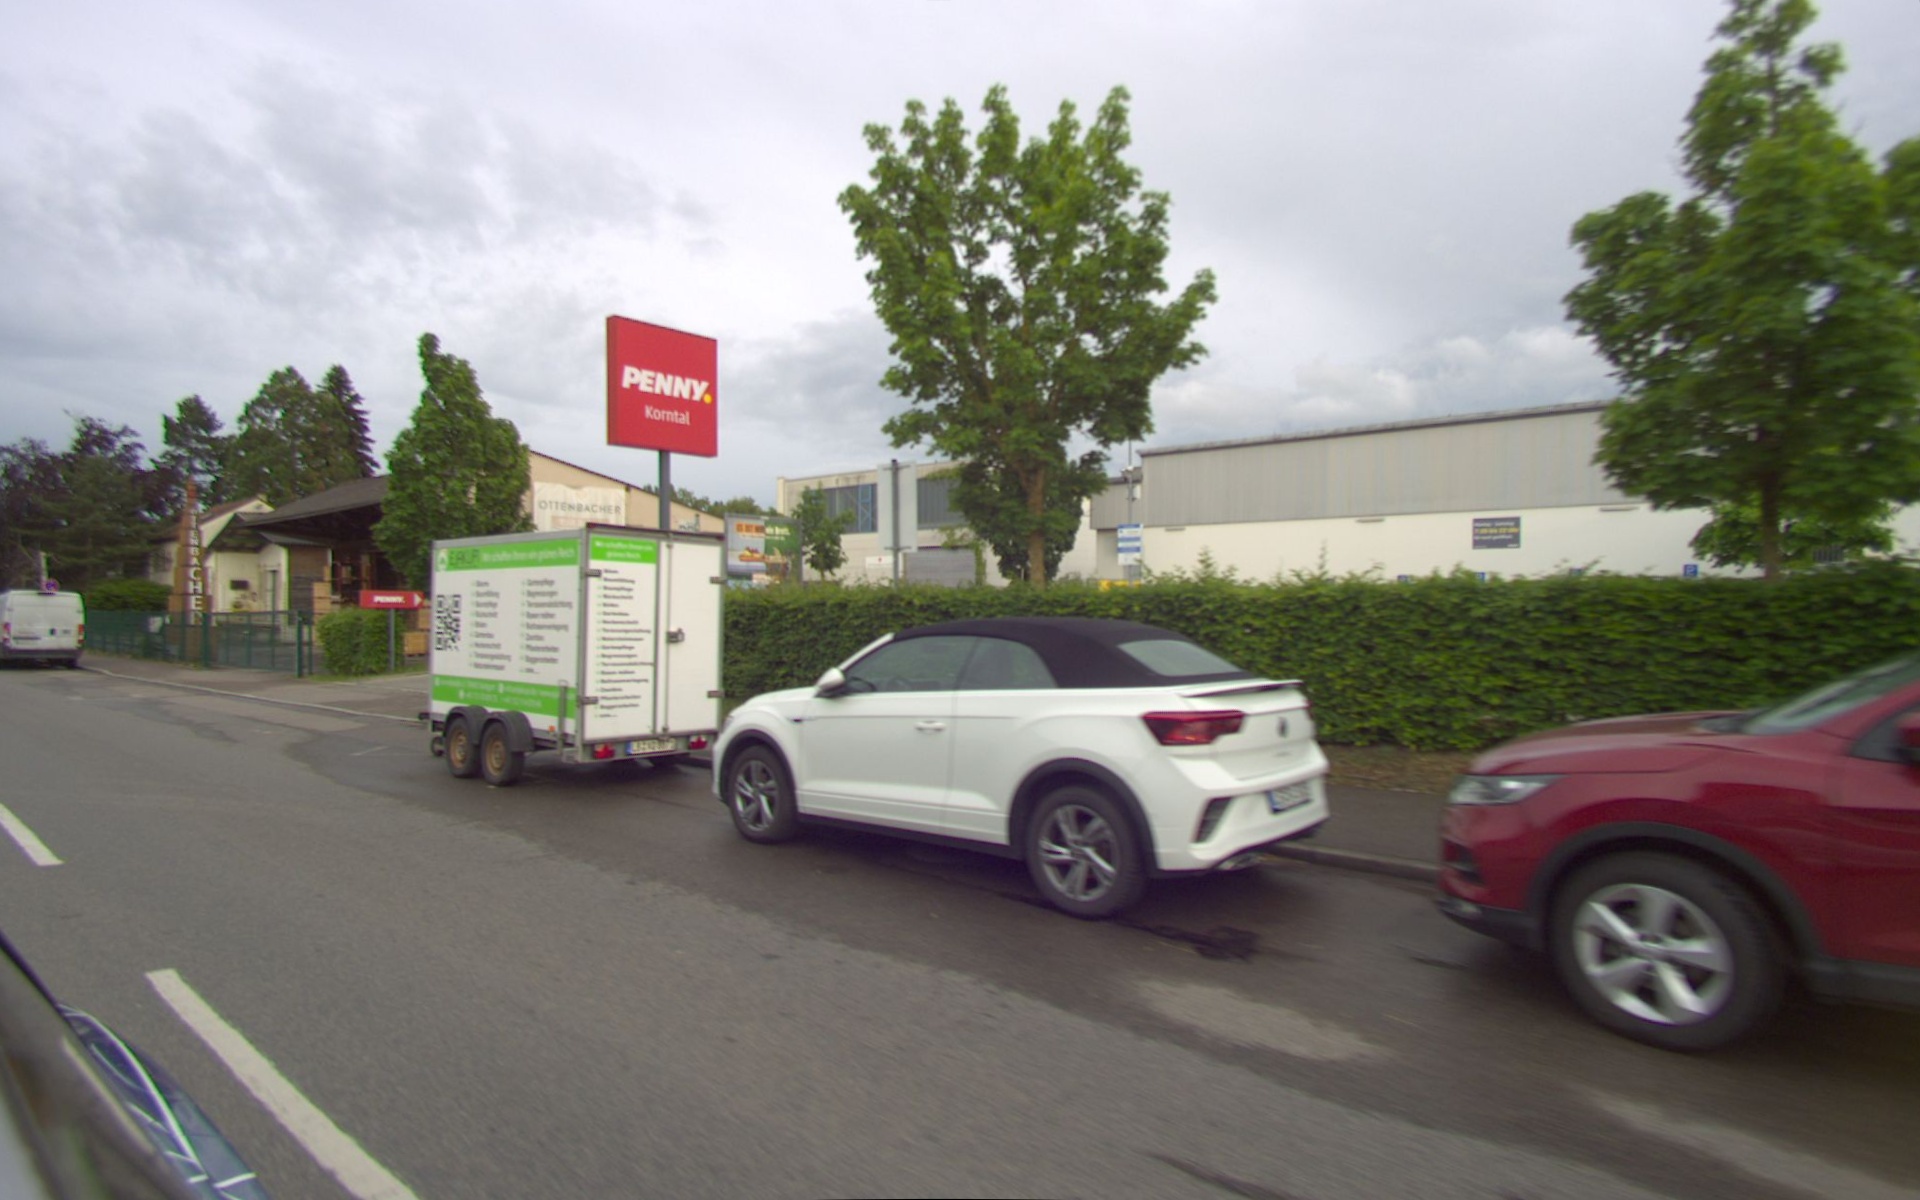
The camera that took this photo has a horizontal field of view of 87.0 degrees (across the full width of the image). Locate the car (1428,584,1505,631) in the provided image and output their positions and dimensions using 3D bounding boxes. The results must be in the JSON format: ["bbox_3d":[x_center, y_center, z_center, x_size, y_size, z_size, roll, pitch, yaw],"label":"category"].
[{"bbox_3d":[18.681,0.248,37.231,1.659,1.618,3.687,-1,0,41],"label":"car"}]

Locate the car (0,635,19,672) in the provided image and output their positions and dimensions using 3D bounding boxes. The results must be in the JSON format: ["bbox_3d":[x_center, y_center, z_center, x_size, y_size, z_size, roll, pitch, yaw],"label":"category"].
[{"bbox_3d":[-40.747,2.212,42.179,4.313,1.459,1.645,-1,-2,39],"label":"car"}]

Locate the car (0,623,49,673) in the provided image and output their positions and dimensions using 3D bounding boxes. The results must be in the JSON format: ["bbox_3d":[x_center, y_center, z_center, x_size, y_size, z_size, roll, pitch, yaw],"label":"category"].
[{"bbox_3d":[-35.832,1.762,38.034,4.444,1.782,1.751,-1,-4,41],"label":"car"}]

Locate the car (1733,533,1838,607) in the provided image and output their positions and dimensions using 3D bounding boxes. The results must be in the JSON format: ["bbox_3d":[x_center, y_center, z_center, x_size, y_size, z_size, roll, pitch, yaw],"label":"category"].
[{"bbox_3d":[18.905,-0.643,23.317,1.451,1.507,3.857,-2,-1,34],"label":"car"}]

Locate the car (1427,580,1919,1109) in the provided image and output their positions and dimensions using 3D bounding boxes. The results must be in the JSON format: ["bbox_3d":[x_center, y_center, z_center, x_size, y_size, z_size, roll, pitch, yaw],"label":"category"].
[{"bbox_3d":[4.052,0.722,3.214,4.339,1.585,1.787,-2,-2,40],"label":"car"}]

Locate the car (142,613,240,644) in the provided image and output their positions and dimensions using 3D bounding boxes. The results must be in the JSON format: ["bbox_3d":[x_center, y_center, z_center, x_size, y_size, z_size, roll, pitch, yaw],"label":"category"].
[{"bbox_3d":[-51.269,1.876,67.532,2.000,1.871,4.945,-1,1,42],"label":"car"}]

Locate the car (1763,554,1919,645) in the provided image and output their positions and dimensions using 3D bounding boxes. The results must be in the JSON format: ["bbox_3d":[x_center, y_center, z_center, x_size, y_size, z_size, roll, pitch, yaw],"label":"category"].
[{"bbox_3d":[15.276,-0.033,17.642,1.800,1.397,3.942,-1,0,36],"label":"car"}]

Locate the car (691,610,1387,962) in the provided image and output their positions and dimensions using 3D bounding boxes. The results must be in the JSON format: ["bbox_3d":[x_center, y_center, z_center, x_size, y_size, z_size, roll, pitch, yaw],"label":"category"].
[{"bbox_3d":[0.265,0.873,6.396,4.133,1.510,1.754,-2,-2,40],"label":"car"}]

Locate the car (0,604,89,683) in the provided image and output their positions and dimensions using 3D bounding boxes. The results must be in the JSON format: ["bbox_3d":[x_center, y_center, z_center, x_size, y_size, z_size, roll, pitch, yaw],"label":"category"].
[{"bbox_3d":[-31.556,1.456,34.251,6.456,2.445,2.135,-1,-4,41],"label":"car"}]

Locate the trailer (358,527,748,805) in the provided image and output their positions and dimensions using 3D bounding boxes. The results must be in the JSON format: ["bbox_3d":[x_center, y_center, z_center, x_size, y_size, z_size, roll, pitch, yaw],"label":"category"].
[{"bbox_3d":[-4.462,0.638,10.726,4.726,2.332,1.794,-2,-4,40],"label":"trailer"}]
